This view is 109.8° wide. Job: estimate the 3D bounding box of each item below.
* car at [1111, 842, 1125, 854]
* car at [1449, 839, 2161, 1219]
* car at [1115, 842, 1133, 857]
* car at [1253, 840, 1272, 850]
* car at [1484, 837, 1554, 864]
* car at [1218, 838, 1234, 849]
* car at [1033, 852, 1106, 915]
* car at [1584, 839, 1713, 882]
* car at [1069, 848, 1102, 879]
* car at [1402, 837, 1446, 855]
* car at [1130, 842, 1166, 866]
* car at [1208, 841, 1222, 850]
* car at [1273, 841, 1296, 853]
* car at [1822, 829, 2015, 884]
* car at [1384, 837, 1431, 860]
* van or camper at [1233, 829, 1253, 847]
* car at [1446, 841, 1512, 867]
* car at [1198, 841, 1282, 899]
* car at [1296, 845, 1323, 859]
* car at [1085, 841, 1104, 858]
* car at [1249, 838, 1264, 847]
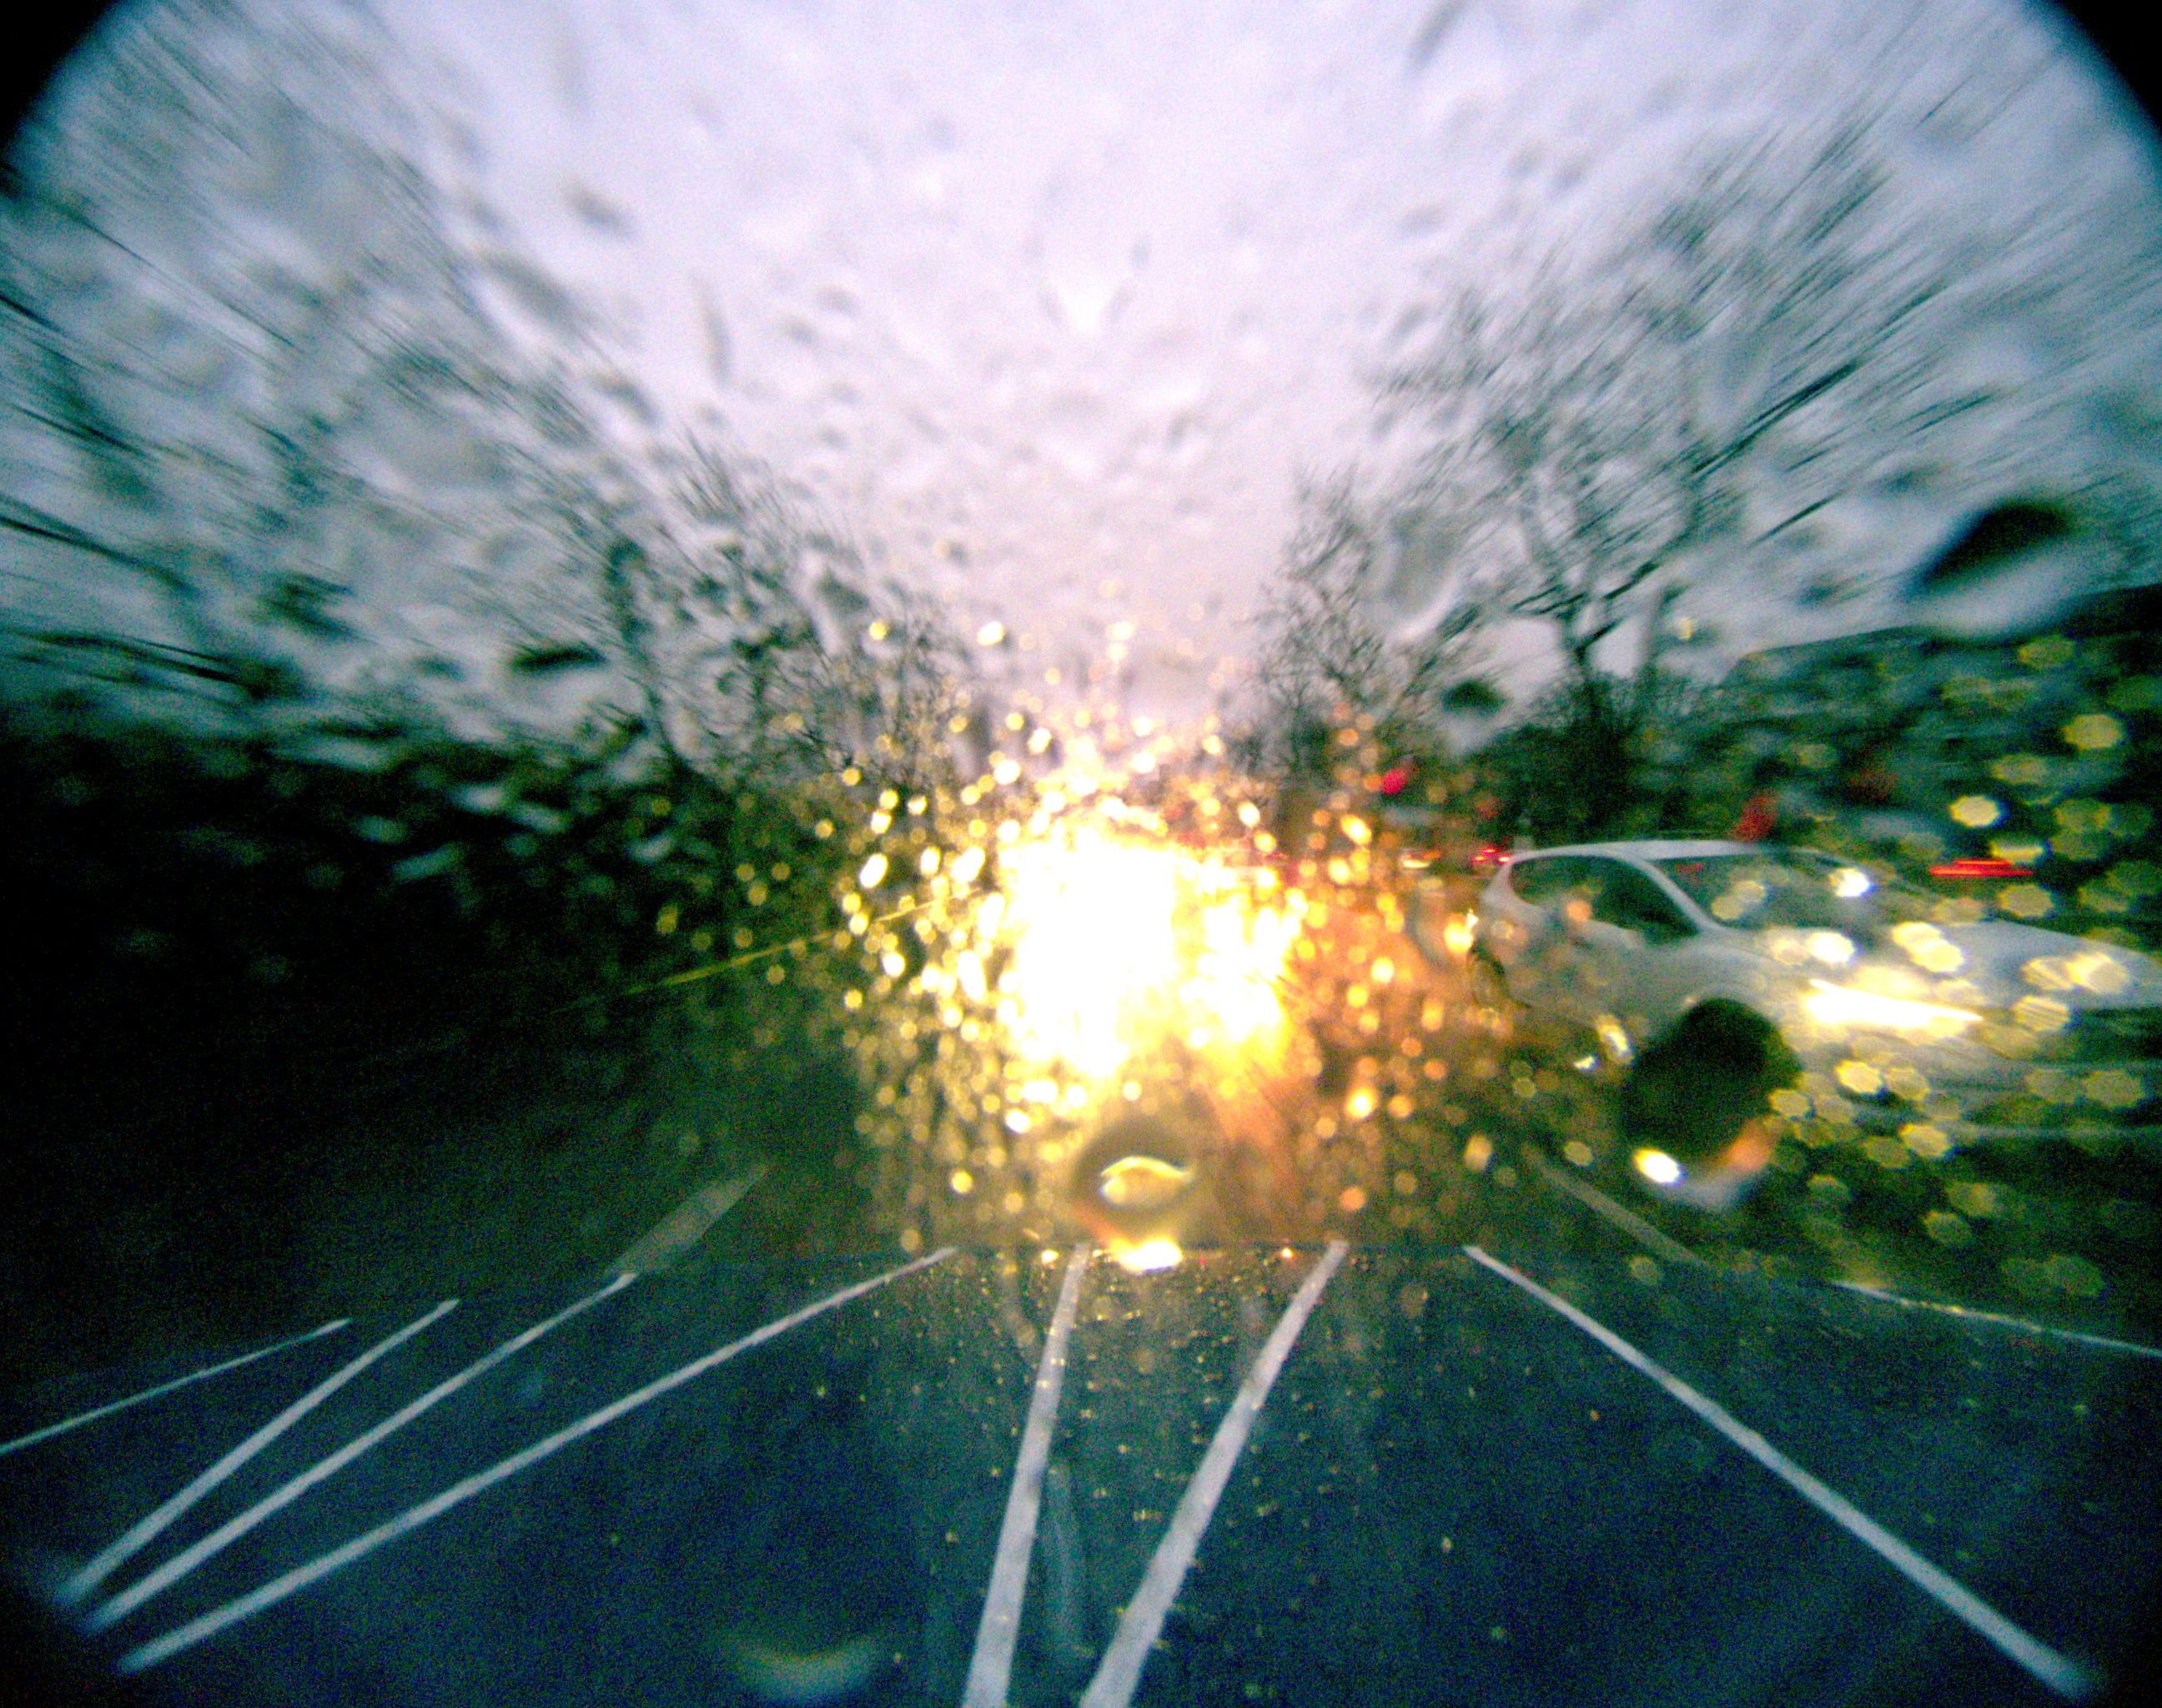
[{"bbox_3d":[5.331,-0.880,109.956,1.852,1.610,3.950,-2,1,1],"label":"car"},{"bbox_3d":[4.278,0.638,5.000,1.728,1.432,4.225,-1,1,1],"label":"car"},{"bbox_3d":[4.953,-0.539,87.227,1.852,1.610,3.950,-2,1,1],"label":"car"},{"bbox_3d":[23.280,-1.129,97.481,1.541,1.285,4.000,-1,1,1],"label":"car"},{"bbox_3d":[25.806,-0.233,44.959,1.722,1.480,4.271,-1,1,1],"label":"car"},{"bbox_3d":[20.873,-1.450,109.411,1.573,1.495,3.999,-2,1,1],"label":"car"},{"bbox_3d":[-0.259,0.736,21.349,1.830,1.524,3.999,-1,1,1],"label":"car"},{"bbox_3d":[21.771,0.209,29.413,1.788,1.524,4.377,-1,1,1],"label":"car"},{"bbox_3d":[0.274,0.478,41.906,1.728,1.573,3.790,-1,1,1],"label":"car"},{"bbox_3d":[26.264,-0.635,58.280,1.653,1.346,3.704,-1,1,-1],"label":"car"},{"bbox_3d":[4.479,-0.034,51.256,2.026,1.522,4.145,-1,1,0],"label":"car"},{"bbox_3d":[20.235,-1.273,115.197,1.459,1.190,3.999,-2,1,1],"label":"car"},{"bbox_3d":[23.054,-0.758,86.104,1.541,1.304,4.000,-1,1,1],"label":"car"},{"bbox_3d":[24.745,0.039,22.669,1.636,1.459,3.791,-1,1,1],"label":"car"},{"bbox_3d":[22.389,-0.418,52.233,1.653,1.491,3.956,-1,1,1],"label":"car"},{"bbox_3d":[23.834,-2.343,111.883,1.967,2.594,4.738,-1,1,1],"label":"van or camper"},{"bbox_3d":[21.980,-0.047,42.163,1.653,1.346,3.956,-1,1,1],"label":"car"},{"bbox_3d":[4.778,0.412,23.410,1.765,1.590,4.164,-1,1,1],"label":"car"},{"bbox_3d":[22.639,-0.260,75.455,1.541,1.320,3.956,-1,1,1],"label":"car"},{"bbox_3d":[1.422,-0.504,81.118,1.852,1.610,3.950,-2,1,1],"label":"car"},{"bbox_3d":[27.297,-1.816,118.503,1.573,1.397,4.000,-2,1,3],"label":"car"}]
